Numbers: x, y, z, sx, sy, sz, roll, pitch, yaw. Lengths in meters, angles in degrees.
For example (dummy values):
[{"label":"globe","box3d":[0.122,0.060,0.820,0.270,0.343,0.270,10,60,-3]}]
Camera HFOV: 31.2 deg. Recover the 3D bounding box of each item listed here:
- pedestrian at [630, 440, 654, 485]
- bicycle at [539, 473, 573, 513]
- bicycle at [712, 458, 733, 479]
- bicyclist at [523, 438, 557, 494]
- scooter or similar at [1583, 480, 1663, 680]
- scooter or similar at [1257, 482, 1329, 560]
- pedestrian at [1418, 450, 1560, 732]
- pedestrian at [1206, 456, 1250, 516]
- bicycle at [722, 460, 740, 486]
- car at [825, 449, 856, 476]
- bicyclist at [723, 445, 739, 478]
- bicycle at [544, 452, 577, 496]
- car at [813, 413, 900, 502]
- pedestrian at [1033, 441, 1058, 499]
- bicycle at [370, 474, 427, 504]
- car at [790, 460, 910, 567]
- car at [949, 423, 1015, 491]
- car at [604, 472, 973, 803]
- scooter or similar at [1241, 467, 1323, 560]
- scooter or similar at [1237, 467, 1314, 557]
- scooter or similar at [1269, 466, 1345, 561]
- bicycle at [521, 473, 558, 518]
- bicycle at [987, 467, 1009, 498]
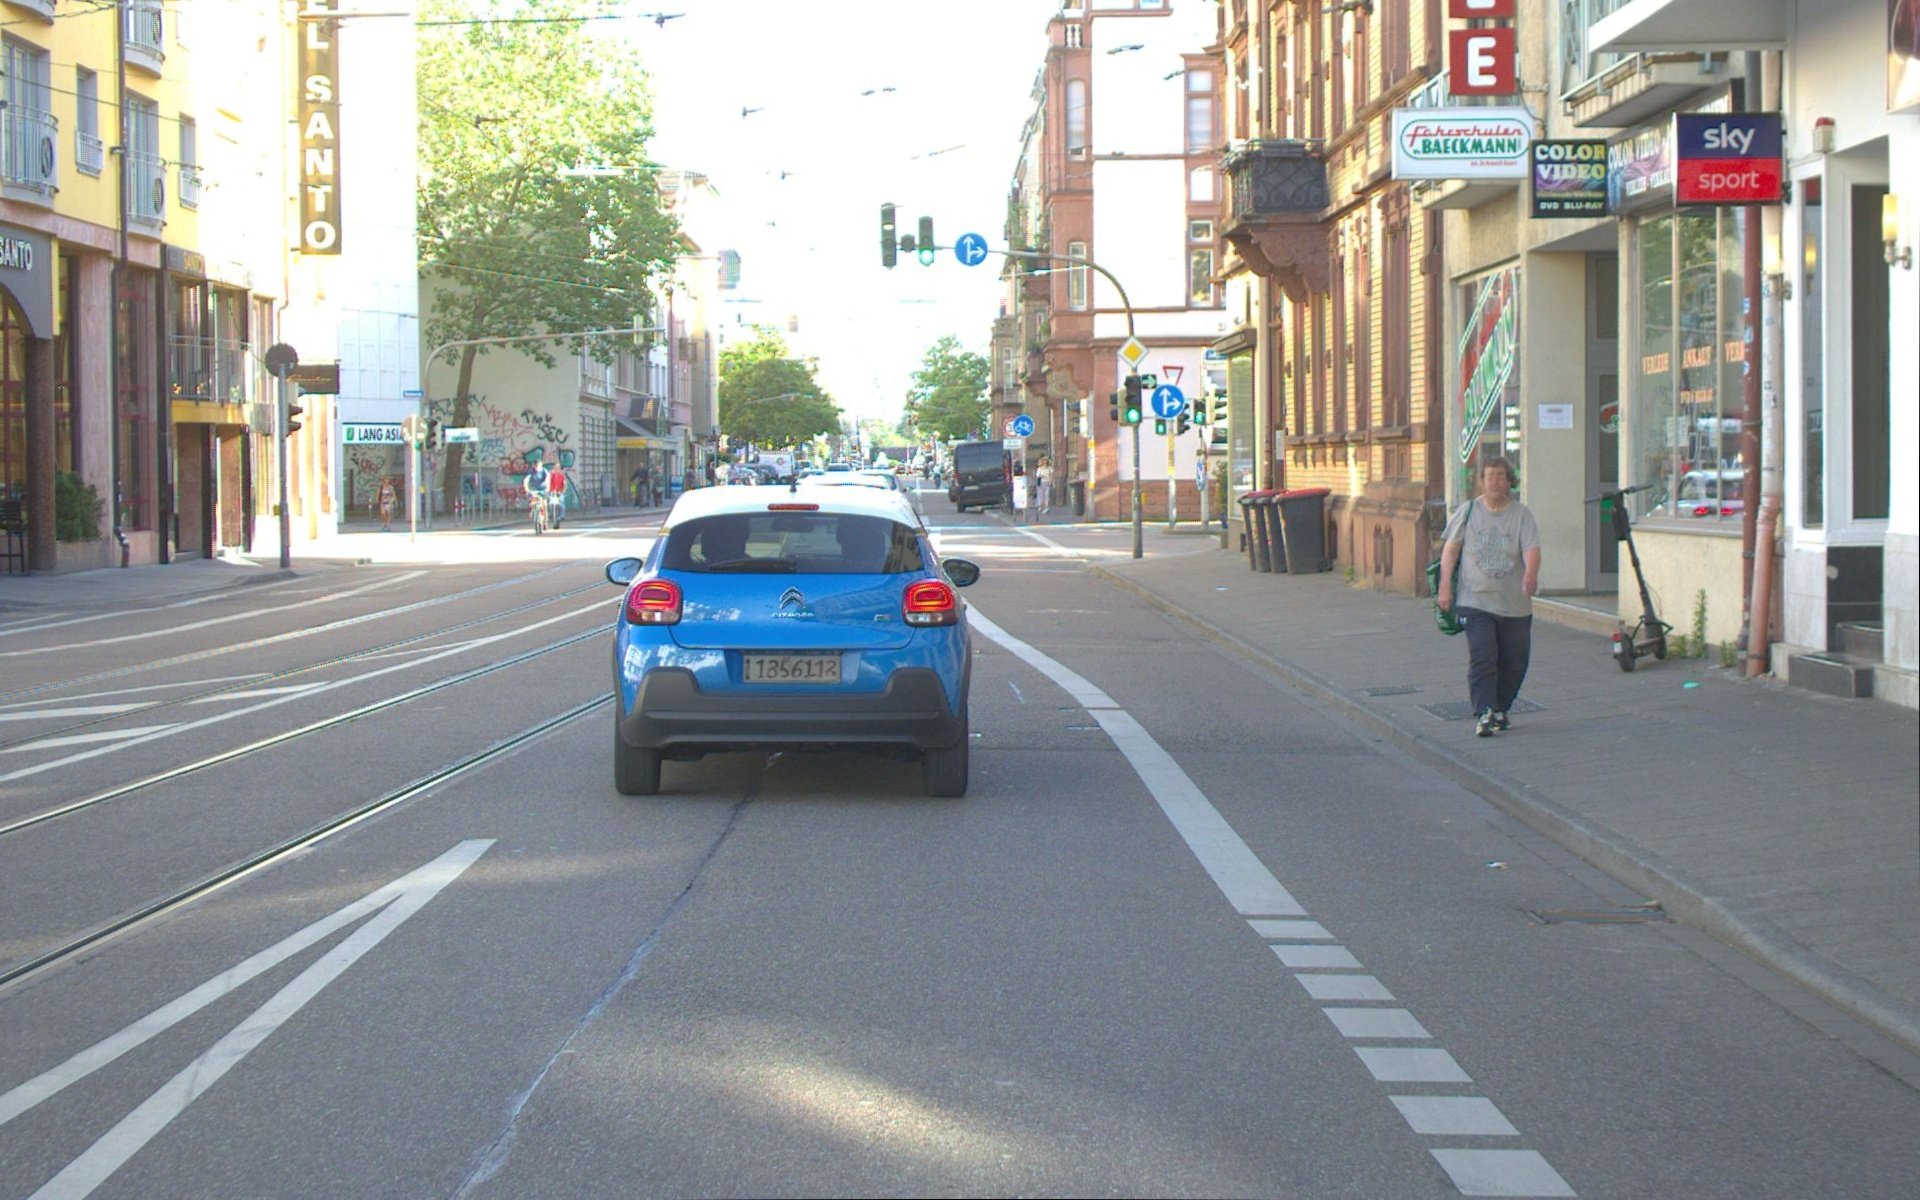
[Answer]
[{"label":"pedestrian","box3d":[-12.452,-5.380,134.596,0.682,1.759,1.025,0,2,10]},{"label":"bicycle","box3d":[-10.902,-2.892,92.836,0.730,1.061,2.062,0,2,-2]},{"label":"bicycle","box3d":[-15.086,-8.338,218.214,1.120,1.315,3.645,-1,2,-6]},{"label":"bicyclist","box3d":[-10.397,-3.326,85.078,0.724,1.376,1.228,0,3,-2]},{"label":"scooter or similar","box3d":[4.398,-0.148,22.773,0.410,1.277,1.283,0,2,15]},{"label":"scooter or similar","box3d":[4.343,-1.034,44.855,0.790,0.954,0.680,-5,3,-2]},{"label":"pedestrian","box3d":[2.960,-0.065,19.299,0.648,1.555,0.781,0,2,-2]},{"label":"pedestrian","box3d":[6.564,-2.799,84.330,0.938,1.451,0.823,0,2,-6]},{"label":"bicycle","box3d":[-10.248,-5.681,153.970,0.692,1.116,2.084,0,3,-2]},{"label":"car","box3d":[-7.923,-9.114,227.634,1.993,1.738,4.564,0,2,-2]},{"label":"bicyclist","box3d":[-10.250,-6.217,153.982,0.682,1.478,0.779,-1,2,-2]},{"label":"bicycle","box3d":[-11.069,-3.500,95.332,0.730,1.179,2.062,0,2,-2]},{"label":"car","box3d":[-2.452,-3.375,81.315,1.993,2.006,4.001,-1,2,-2]},{"label":"pedestrian","box3d":[2.644,-4.016,106.255,0.705,1.776,0.673,0,2,-2]},{"label":"bicycle","box3d":[-19.390,-3.831,118.718,1.918,1.031,0.664,1,3,25]},{"label":"car","box3d":[-1.617,-1.296,50.267,1.667,1.473,4.001,-1,3,-2]},{"label":"car","box3d":[0.790,-5.286,126.664,2.271,2.428,5.721,0,2,-1]},{"label":"car","box3d":[-0.896,0.101,17.754,1.673,1.472,4.001,1,2,-3]},{"label":"scooter or similar","box3d":[4.275,-1.156,45.704,0.933,1.144,0.650,-5,3,-2]},{"label":"scooter or similar","box3d":[4.291,-1.194,46.720,0.897,1.144,0.548,-5,3,-2]},{"label":"scooter or similar","box3d":[4.440,-1.117,44.067,0.790,1.144,0.790,-5,3,-2]},{"label":"bicycle","box3d":[-10.419,-2.597,85.180,0.730,1.084,2.062,0,2,-2]},{"label":"bicycle","box3d":[1.172,-3.652,106.389,0.431,0.944,1.764,0,2,-8]}]
